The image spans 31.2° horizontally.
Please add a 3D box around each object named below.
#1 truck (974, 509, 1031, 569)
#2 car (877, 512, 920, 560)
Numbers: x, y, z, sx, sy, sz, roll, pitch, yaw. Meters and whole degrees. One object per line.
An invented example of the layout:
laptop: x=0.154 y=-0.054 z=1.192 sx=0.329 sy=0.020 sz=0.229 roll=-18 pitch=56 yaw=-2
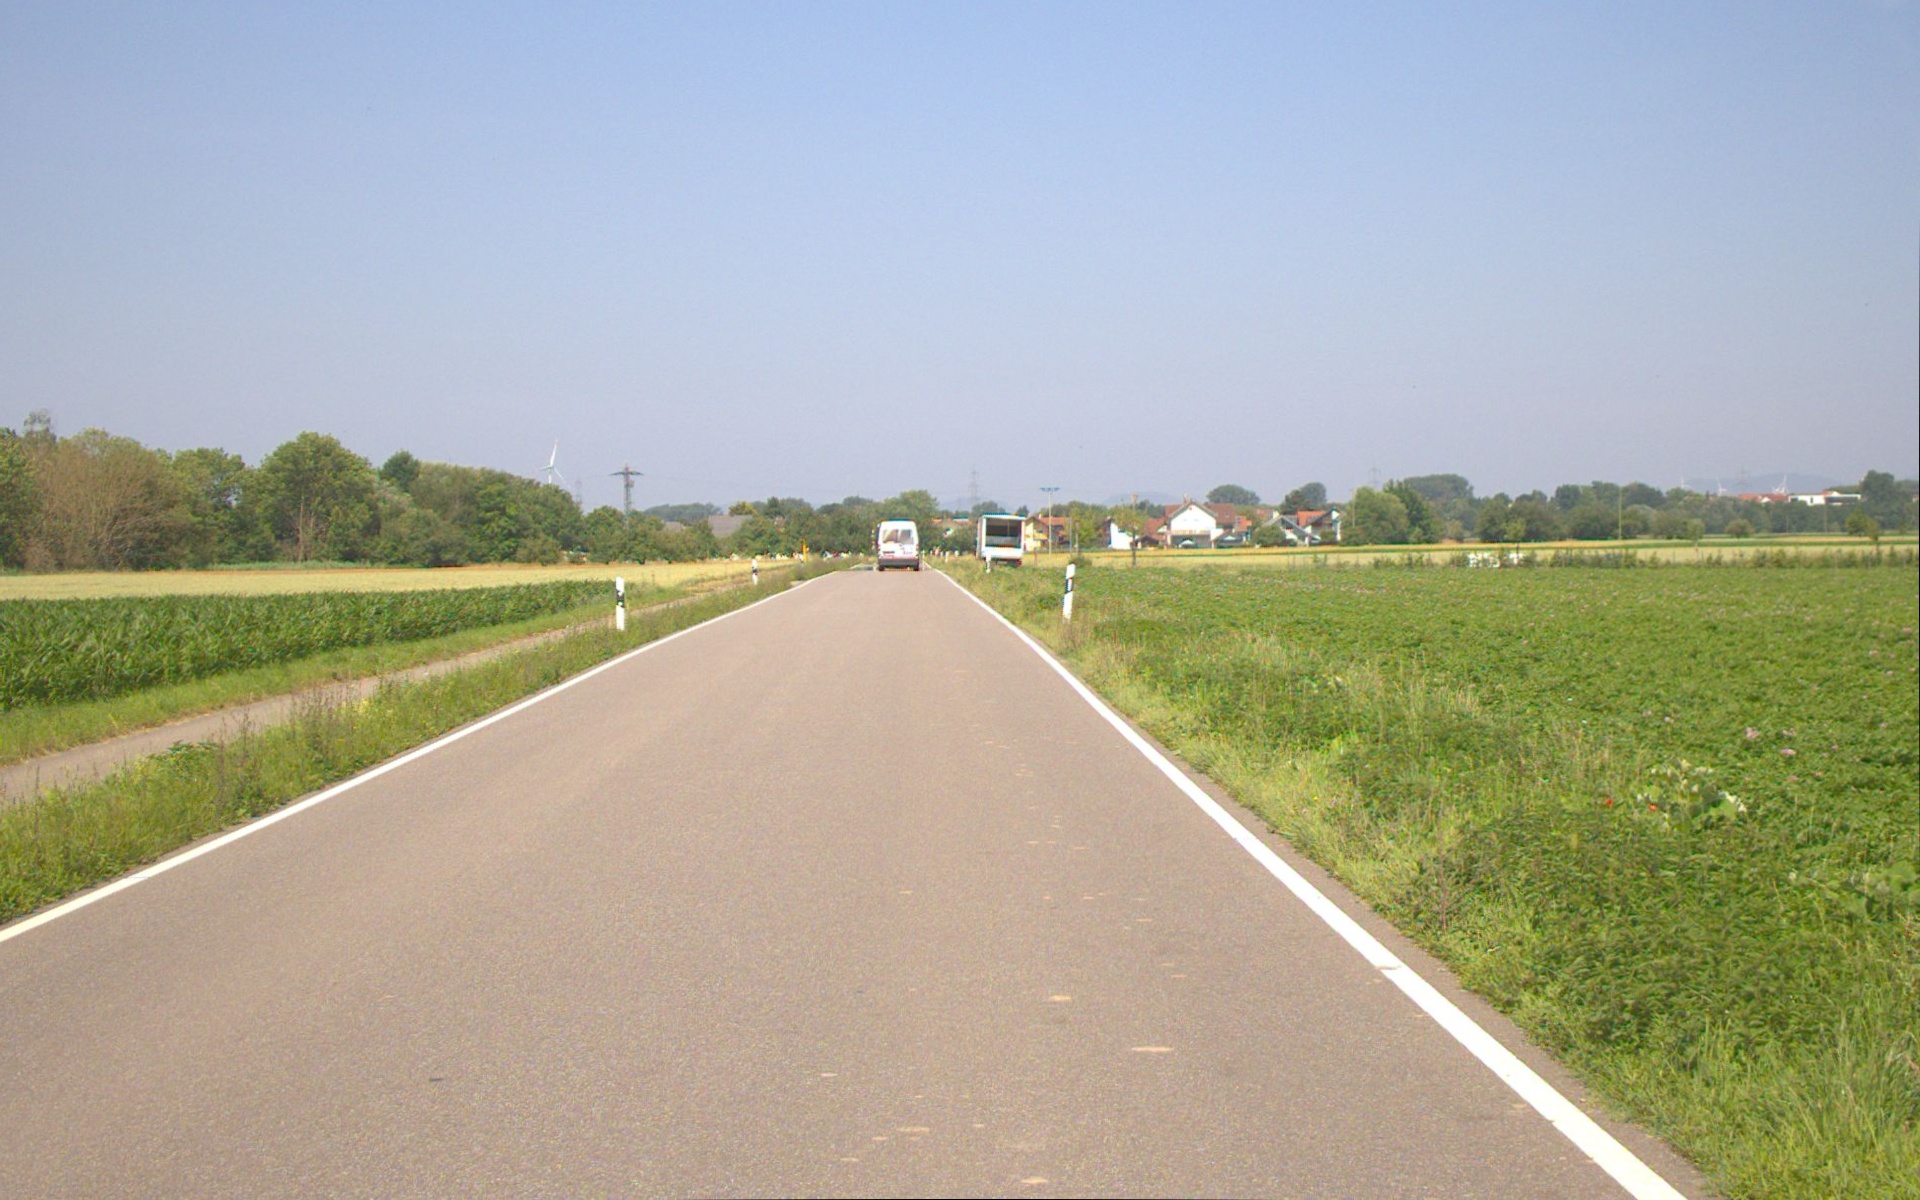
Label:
truck: x=2.146 y=-3.108 z=175.823 sx=2.335 sy=2.932 sz=7.009 roll=2 pitch=1 yaw=-3
car: x=-3.069 y=-3.178 z=171.732 sx=2.107 sy=2.296 sz=5.496 roll=1 pitch=1 yaw=-1
